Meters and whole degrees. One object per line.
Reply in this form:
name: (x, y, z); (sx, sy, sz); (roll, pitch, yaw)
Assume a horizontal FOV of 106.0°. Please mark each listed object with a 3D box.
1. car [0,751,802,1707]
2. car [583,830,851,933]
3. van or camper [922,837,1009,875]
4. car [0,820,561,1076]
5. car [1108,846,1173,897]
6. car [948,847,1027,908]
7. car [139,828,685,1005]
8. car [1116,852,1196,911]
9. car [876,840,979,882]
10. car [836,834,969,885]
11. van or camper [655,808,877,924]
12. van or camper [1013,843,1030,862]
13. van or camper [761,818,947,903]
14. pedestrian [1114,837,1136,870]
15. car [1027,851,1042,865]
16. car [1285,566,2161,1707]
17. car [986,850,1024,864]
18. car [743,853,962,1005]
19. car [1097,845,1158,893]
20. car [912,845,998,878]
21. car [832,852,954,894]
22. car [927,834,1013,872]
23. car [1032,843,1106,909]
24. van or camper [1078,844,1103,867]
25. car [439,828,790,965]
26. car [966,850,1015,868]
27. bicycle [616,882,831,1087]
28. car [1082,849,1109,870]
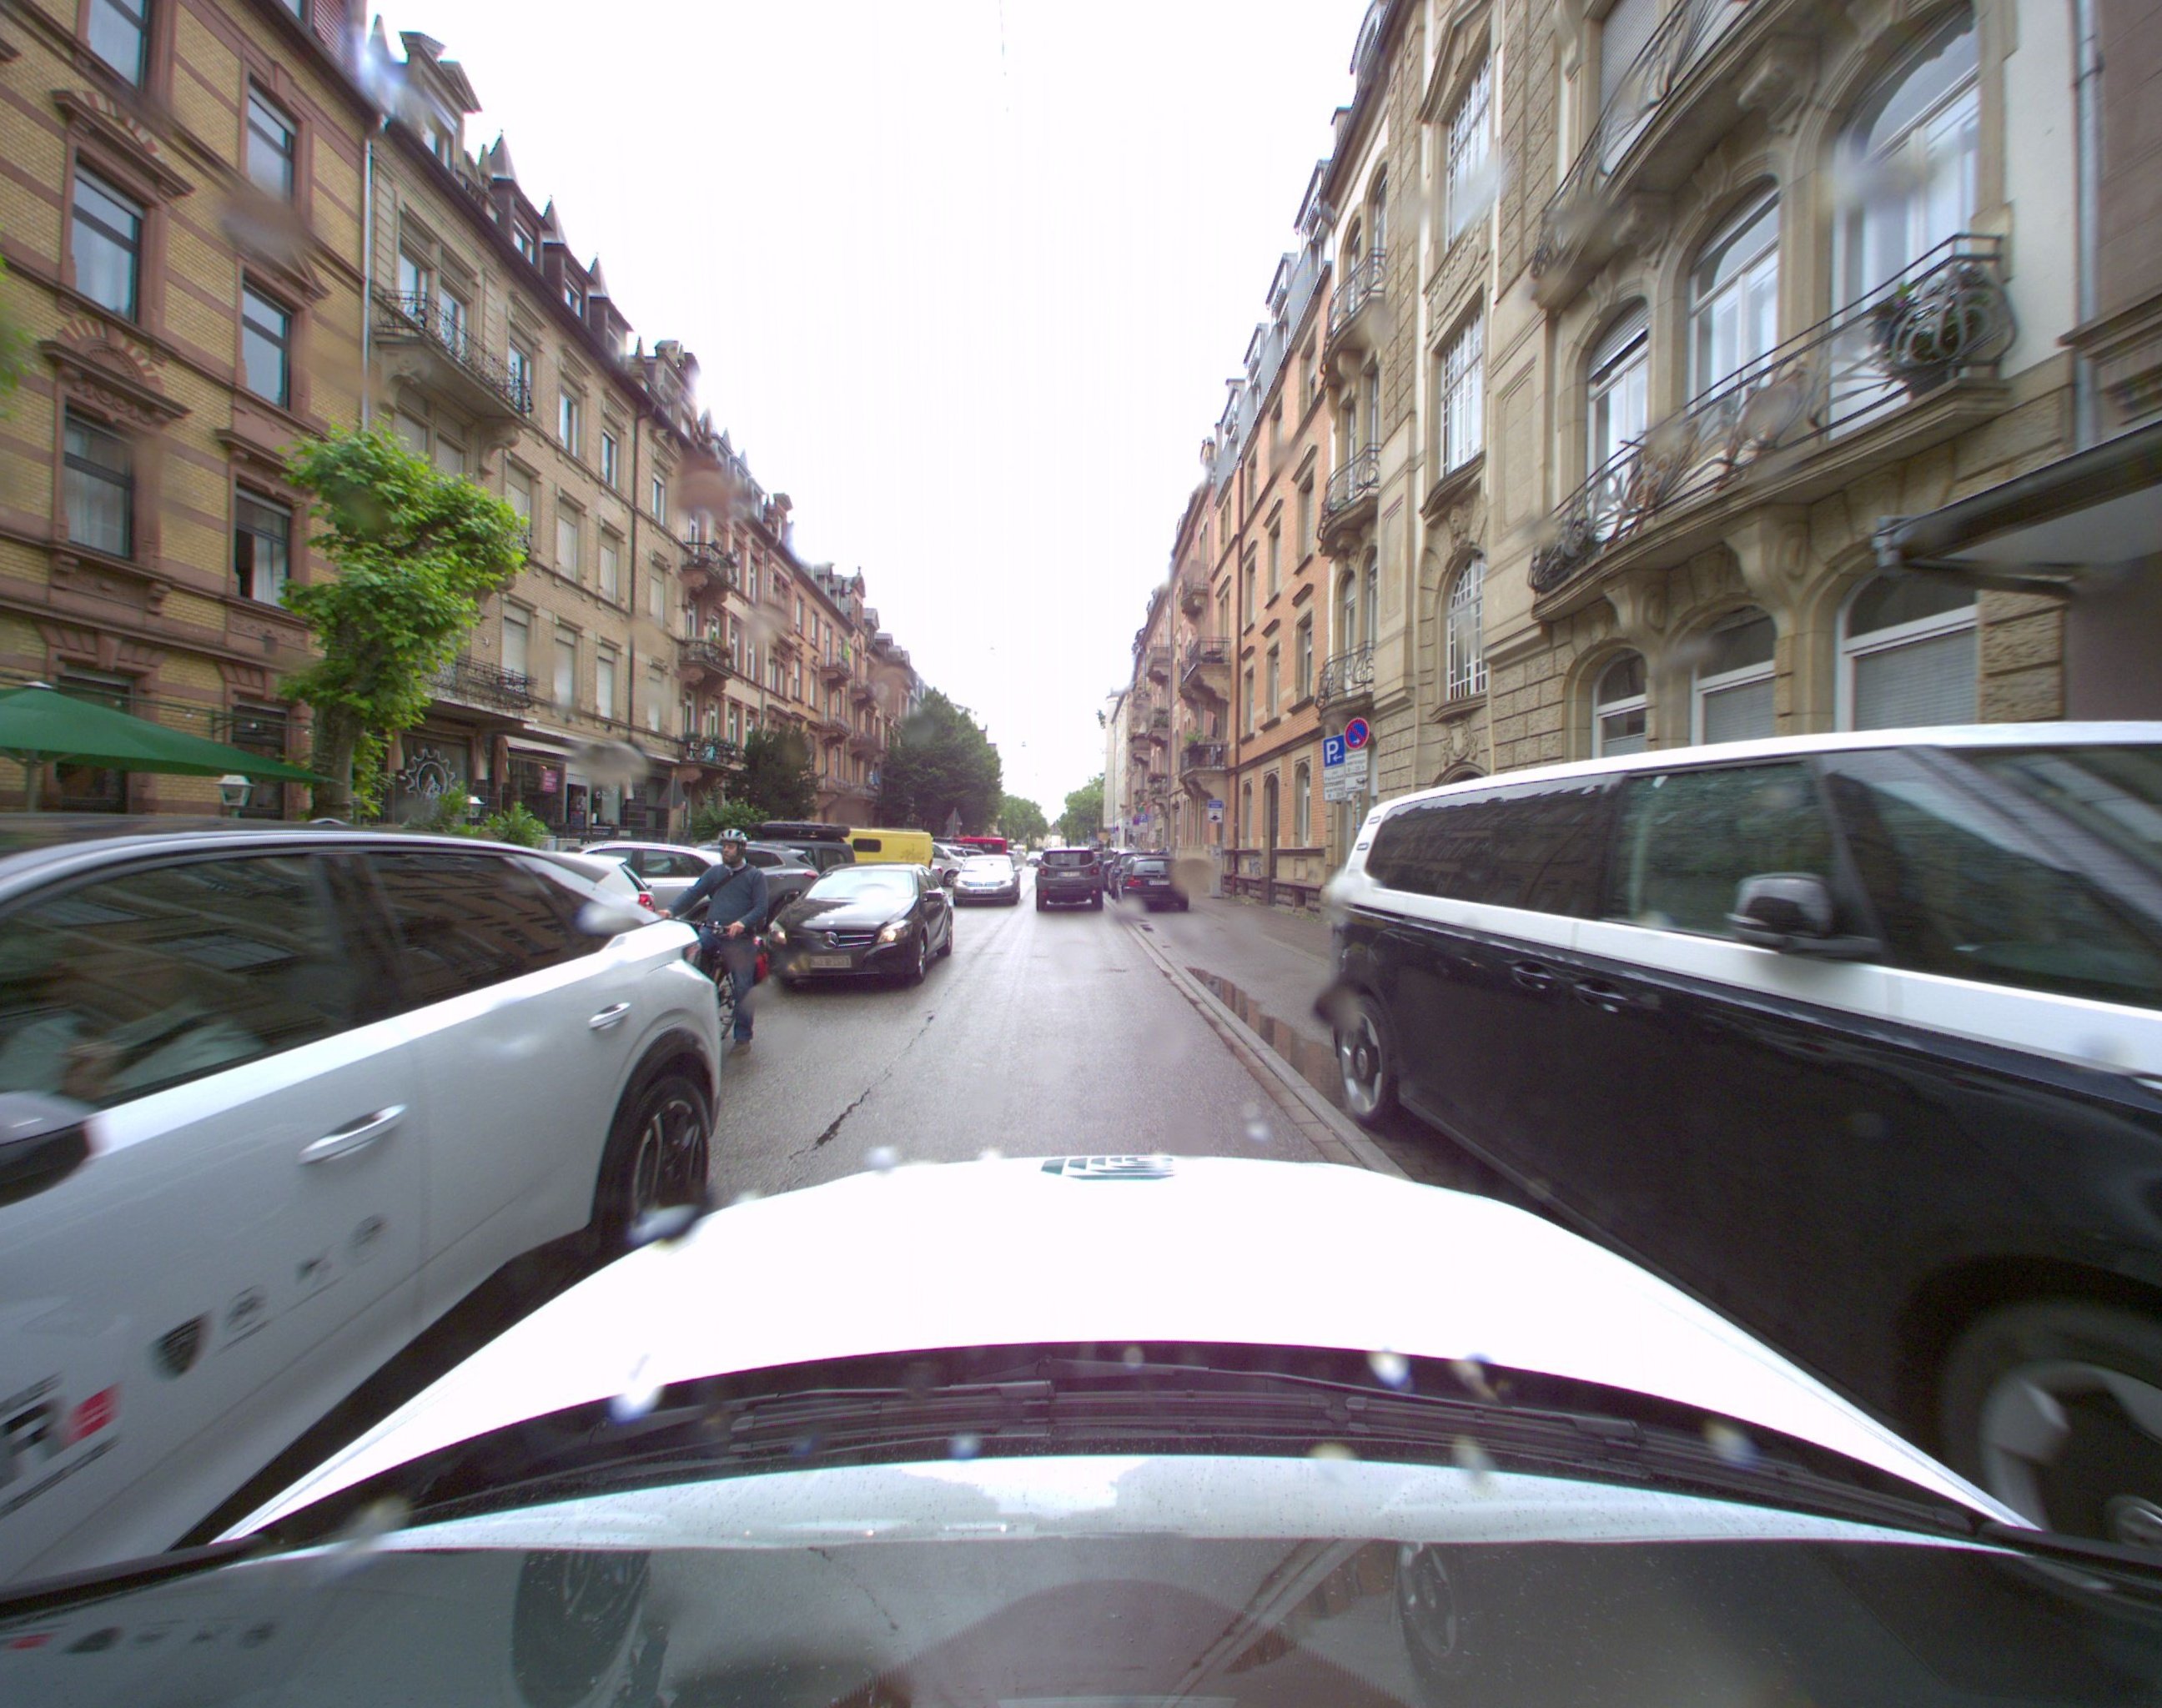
car: (-2.336, 0.712, 1.757); (1.854, 1.660, 5.004); (-1, 0, -2)
car: (-6.635, 0.551, 15.071); (4.157, 1.662, 1.781); (4, -2, -38)
van or camper: (-7.416, 0.141, 52.201); (5.037, 2.349, 2.324); (1, 0, -28)
car: (-6.893, 0.601, 6.247); (4.745, 1.563, 1.979); (3, 1, -36)
car: (1.950, 0.545, 27.861); (1.866, 1.561, 4.343); (-1, 0, -1)
car: (-2.798, 0.655, 25.308); (1.790, 1.493, 4.583); (5, 1, 0)
car: (-6.804, 0.636, 8.881); (4.156, 1.494, 1.781); (4, -2, -37)
car: (1.976, 0.675, 22.634); (1.782, 1.466, 4.482); (0, 0, -1)
car: (-7.556, 0.337, 40.545); (4.567, 1.785, 2.543); (3, 0, -3)
car: (-7.616, 0.273, 34.904); (5.263, 2.078, 1.854); (1, -1, -26)
van or camper: (-6.822, 0.333, 17.785); (4.100, 2.240, 1.917); (4, -2, -34)
van or camper: (-9.045, -0.197, 124.839); (2.116, 2.531, 6.869); (-3, -2, -2)
van or camper: (-6.587, 0.221, 23.812); (4.745, 2.268, 2.162); (2, 0, -34)
pedestrian: (2.836, -0.028, 52.659); (0.672, 1.938, 0.813); (-1, -32, 33)
car: (-5.118, 0.452, 89.544); (1.666, 1.559, 3.998); (0, 0, -4)
car: (2.606, 0.495, 3.126); (1.990, 1.939, 5.222); (-1, 0, -4)
car: (-8.245, 0.299, 88.201); (3.731, 1.452, 1.667); (-1, 0, -37)
car: (-2.726, 0.789, 10.725); (1.791, 1.493, 4.135); (-1, 1, -2)
car: (1.798, 0.550, 32.983); (1.989, 1.779, 4.822); (0, 0, -3)
car: (-7.234, 0.424, 46.783); (4.456, 1.630, 1.828); (3, 0, -28)
car: (-6.855, 0.668, 29.749); (4.012, 1.436, 1.767); (1, 0, -30)
car: (-7.801, -0.045, 57.464); (5.589, 2.541, 2.208); (1, 0, -29)
car: (-0.398, 0.568, 23.075); (1.894, 1.670, 4.501); (0, 0, -3)
van or camper: (0.805, 0.102, 72.491); (2.016, 1.891, 5.051); (-1, 0, -2)
car: (-6.677, 0.609, 11.908); (4.157, 1.662, 1.781); (4, -2, -38)
car: (-7.916, 0.412, 71.410); (4.000, 1.447, 1.747); (2, 0, -42)
bicycle: (-2.651, 0.882, 6.390); (0.768, 1.180, 2.267); (-1, 1, -3)
car: (1.108, 0.403, 63.062); (1.836, 1.545, 3.999); (0, 0, -3)
